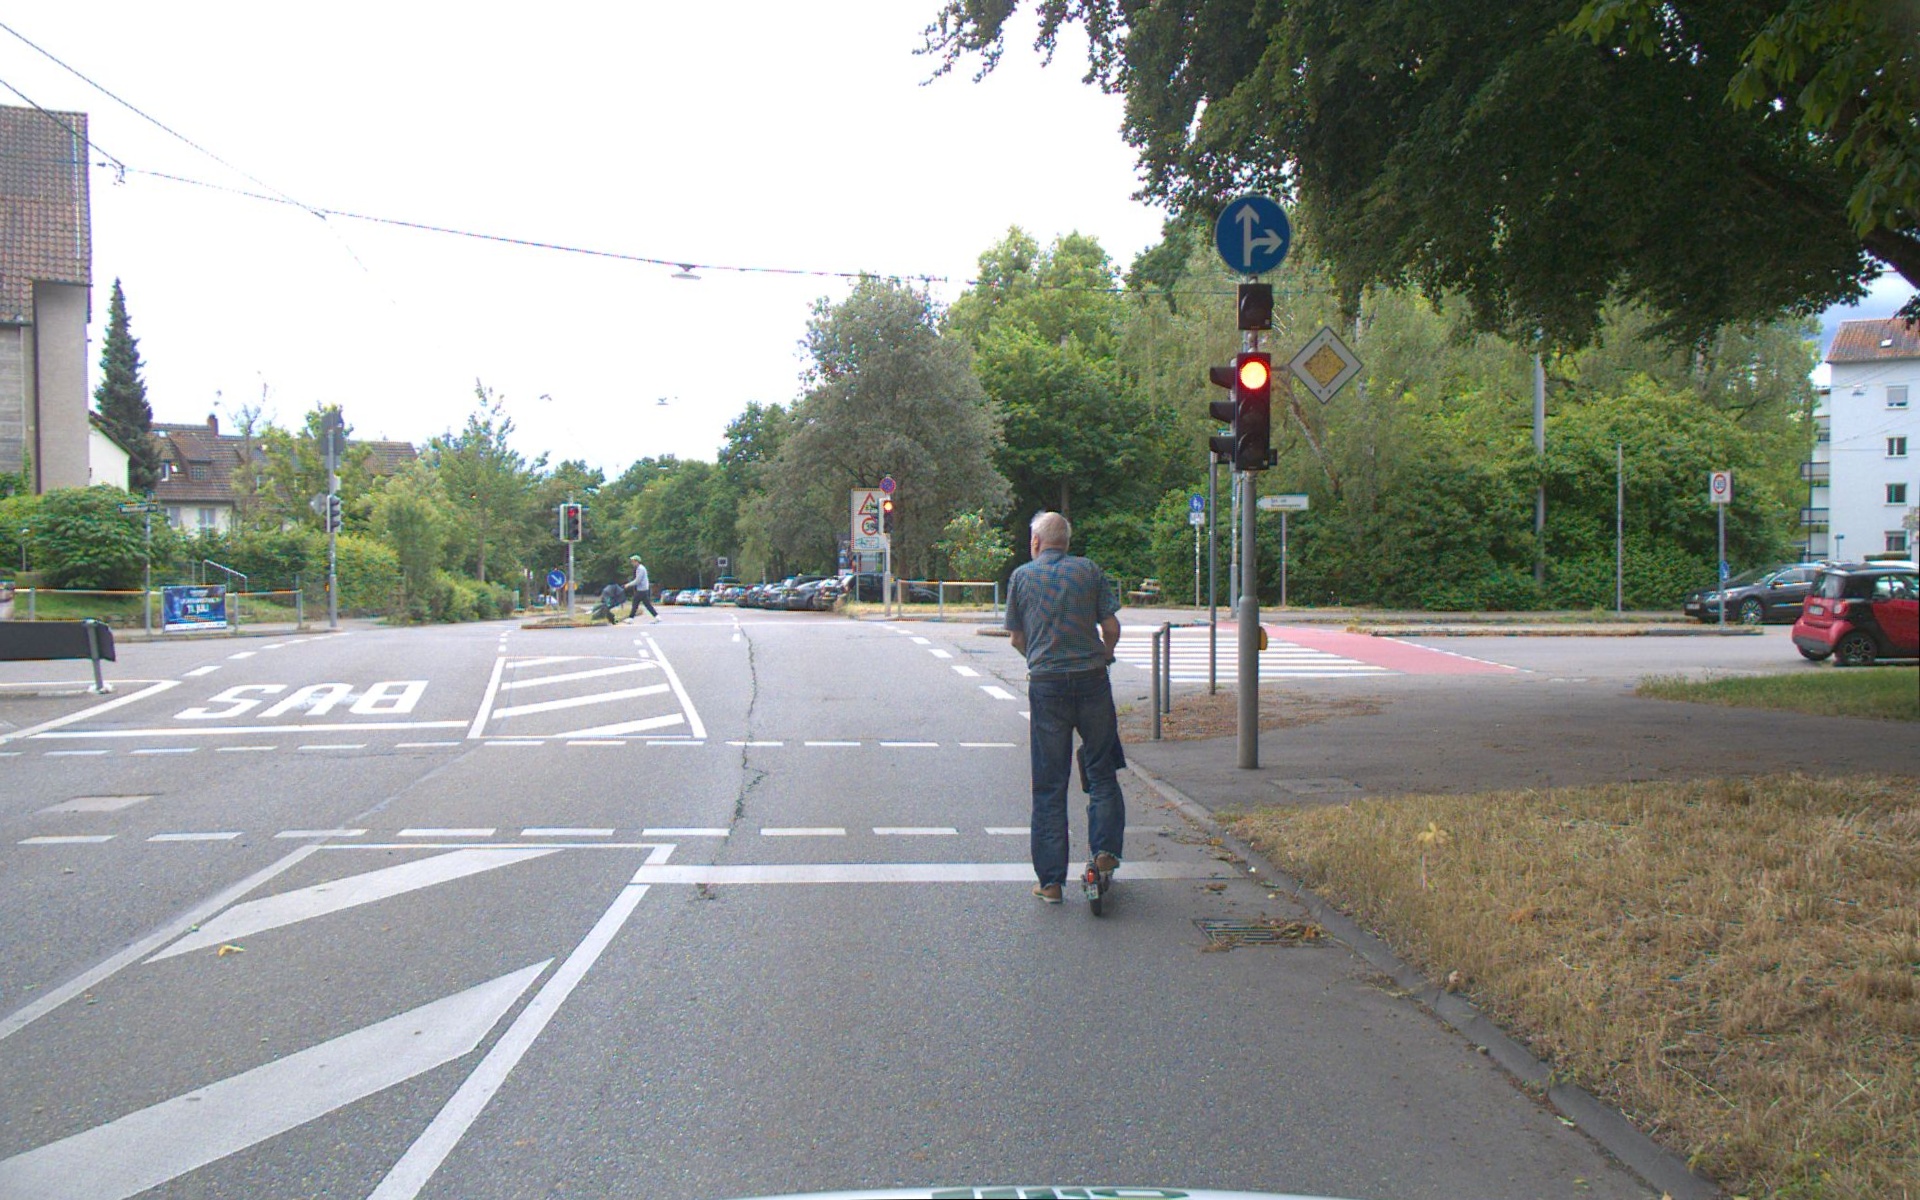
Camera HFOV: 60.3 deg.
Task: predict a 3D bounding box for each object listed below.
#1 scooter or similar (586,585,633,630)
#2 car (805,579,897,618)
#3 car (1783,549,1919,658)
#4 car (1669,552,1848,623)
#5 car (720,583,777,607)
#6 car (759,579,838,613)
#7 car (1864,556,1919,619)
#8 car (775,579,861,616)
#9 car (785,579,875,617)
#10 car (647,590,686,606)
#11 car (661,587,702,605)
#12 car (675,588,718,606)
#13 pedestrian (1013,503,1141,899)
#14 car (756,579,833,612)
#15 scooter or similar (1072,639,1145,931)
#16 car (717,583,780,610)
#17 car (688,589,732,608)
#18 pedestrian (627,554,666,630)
[{"bbox_3d":[-8.860,0.176,41.783,1.092,1.100,0.574,-1,1,-21],"label":"scooter or similar"},{"bbox_3d":[-4.957,-0.082,75.090,3.788,1.639,1.717,-2,1,-22],"label":"car"},{"bbox_3d":[15.214,0.016,26.243,3.444,1.639,1.729,-2,1,4],"label":"car"},{"bbox_3d":[19.093,-0.308,39.650,3.444,1.557,1.729,-2,1,5],"label":"car"},{"bbox_3d":[-15.616,-0.379,122.017,3.791,1.639,1.716,-2,1,-24],"label":"car"},{"bbox_3d":[-8.492,-0.239,86.892,3.791,1.639,1.716,-2,1,-24],"label":"car"},{"bbox_3d":[26.335,-0.387,46.241,1.689,1.639,3.850,-1,1,27],"label":"car"},{"bbox_3d":[-6.842,-0.113,79.571,3.791,1.639,1.716,-2,1,-24],"label":"car"},{"bbox_3d":[-6.044,-0.091,77.043,3.792,1.639,1.715,-2,1,-25],"label":"car"},{"bbox_3d":[-31.178,-0.209,175.498,3.791,1.639,1.716,-2,1,-24],"label":"car"},{"bbox_3d":[-27.932,-0.377,165.758,3.791,1.639,1.716,-2,1,-24],"label":"car"},{"bbox_3d":[-25.282,-0.289,158.736,3.791,1.639,1.716,-2,1,-24],"label":"car"},{"bbox_3d":[0.567,0.472,7.936,0.560,1.845,0.421,-1,0,7],"label":"pedestrian"},{"bbox_3d":[-8.935,-0.256,89.297,3.791,1.639,1.716,-2,1,-24],"label":"car"},{"bbox_3d":[0.699,0.805,7.649,0.276,1.199,1.178,-1,1,7],"label":"scooter or similar"},{"bbox_3d":[-13.941,-0.225,109.077,3.791,1.639,1.716,-2,1,-24],"label":"car"},{"bbox_3d":[-23.285,-0.183,154.066,3.791,1.639,1.716,-2,1,-24],"label":"car"},{"bbox_3d":[-7.995,-0.211,42.147,0.871,1.895,0.571,-1,1,-22],"label":"pedestrian"}]
